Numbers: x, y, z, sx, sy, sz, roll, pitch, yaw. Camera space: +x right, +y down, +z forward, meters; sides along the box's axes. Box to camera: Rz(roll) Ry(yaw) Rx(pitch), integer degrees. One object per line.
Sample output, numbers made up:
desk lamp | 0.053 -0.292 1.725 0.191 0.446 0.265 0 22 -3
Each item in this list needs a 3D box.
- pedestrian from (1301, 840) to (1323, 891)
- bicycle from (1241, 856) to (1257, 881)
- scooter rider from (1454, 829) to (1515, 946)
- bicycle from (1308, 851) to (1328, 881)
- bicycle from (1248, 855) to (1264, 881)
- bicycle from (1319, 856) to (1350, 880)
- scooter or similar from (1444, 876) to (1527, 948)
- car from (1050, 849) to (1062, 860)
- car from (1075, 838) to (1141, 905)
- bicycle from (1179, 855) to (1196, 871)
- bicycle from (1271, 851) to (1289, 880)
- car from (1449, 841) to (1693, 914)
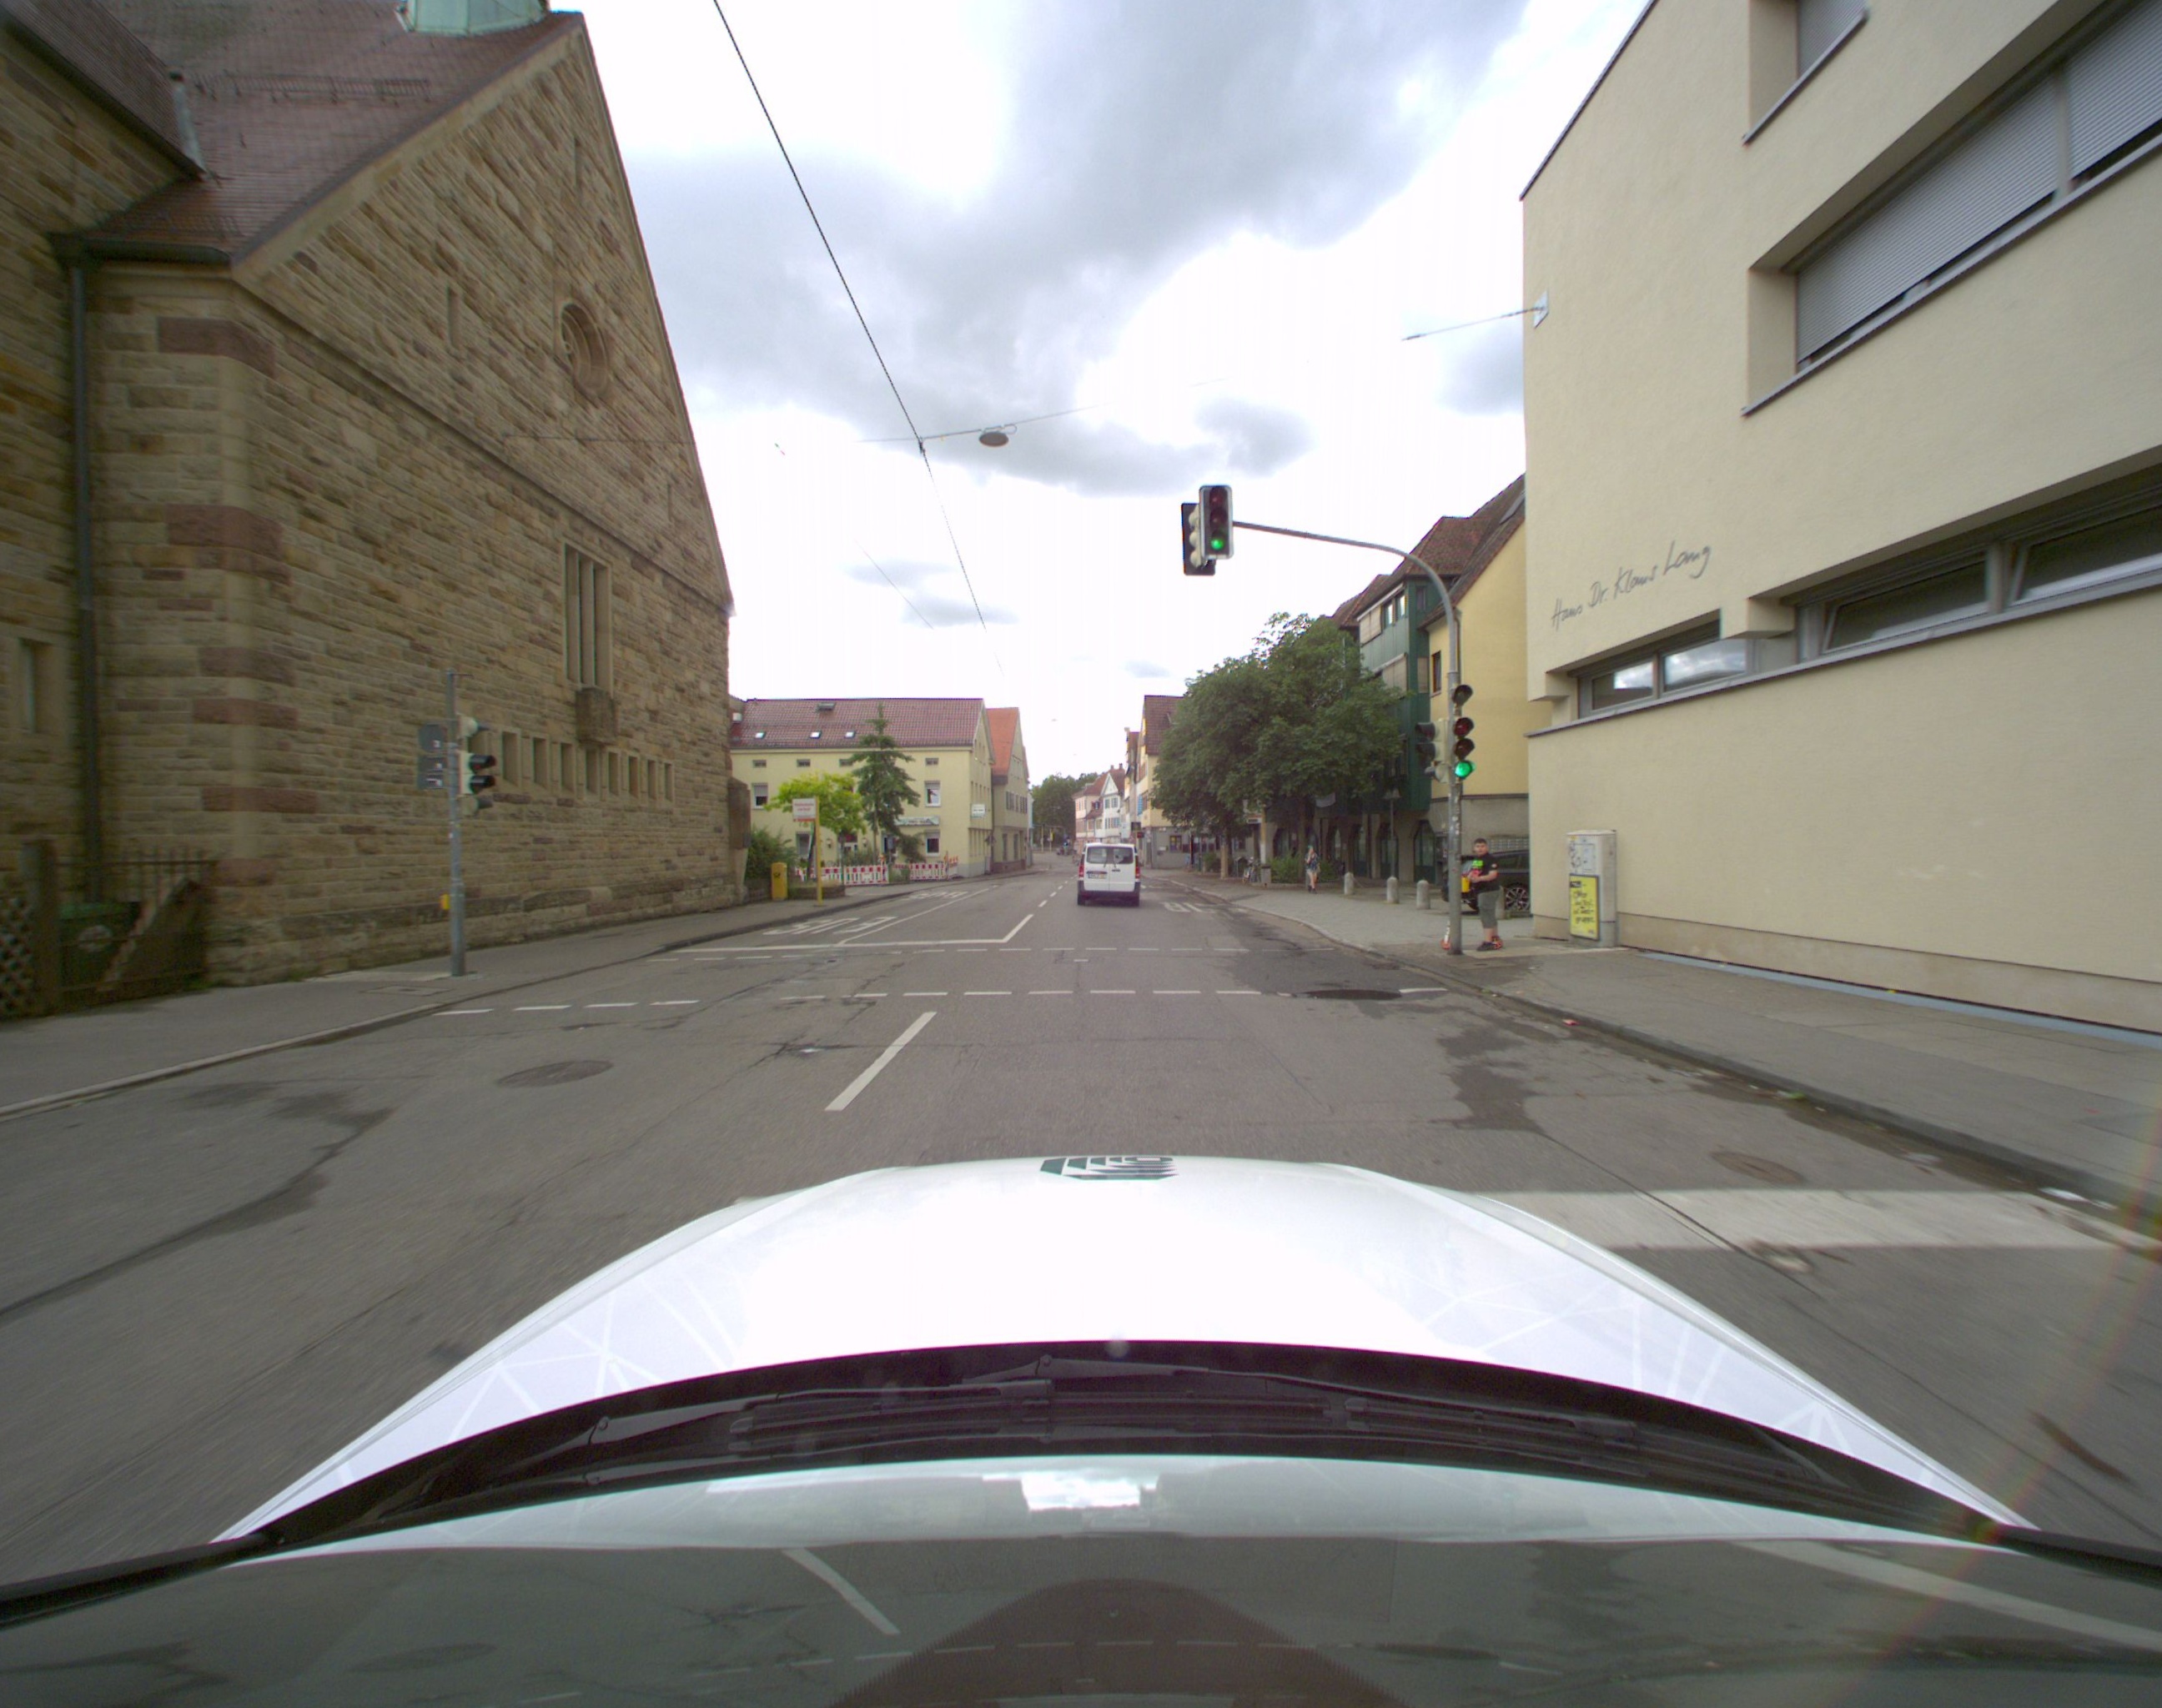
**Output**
pedestrian | 7.943 0.382 28.006 0.599 1.715 0.862 -1 0 8
bicycle | 7.641 0.644 37.049 0.332 1.141 1.958 0 0 0
scooter rider | 5.837 0.477 11.794 0.452 1.632 0.502 -3 -2 -13
bicycle | 10.688 0.534 36.831 0.332 1.300 1.958 0 0 0
bicycle | 7.979 0.622 37.155 0.332 1.141 1.958 0 0 0
bicycle | 11.430 0.612 36.747 0.543 1.069 2.288 -2 0 -3
scooter or similar | 5.826 0.823 11.770 0.661 0.946 0.817 -3 -2 -10
car | -4.886 0.122 159.269 1.935 2.014 3.986 0 0 -10
car | 0.867 0.513 25.589 1.865 1.912 4.002 -1 -1 2
bicycle | 7.534 0.605 57.515 0.501 1.106 1.627 -2 0 -19
bicycle | 9.117 0.514 37.364 0.332 1.300 1.958 0 0 0
car | 11.159 0.522 18.831 4.486 1.574 1.856 0 0 7
